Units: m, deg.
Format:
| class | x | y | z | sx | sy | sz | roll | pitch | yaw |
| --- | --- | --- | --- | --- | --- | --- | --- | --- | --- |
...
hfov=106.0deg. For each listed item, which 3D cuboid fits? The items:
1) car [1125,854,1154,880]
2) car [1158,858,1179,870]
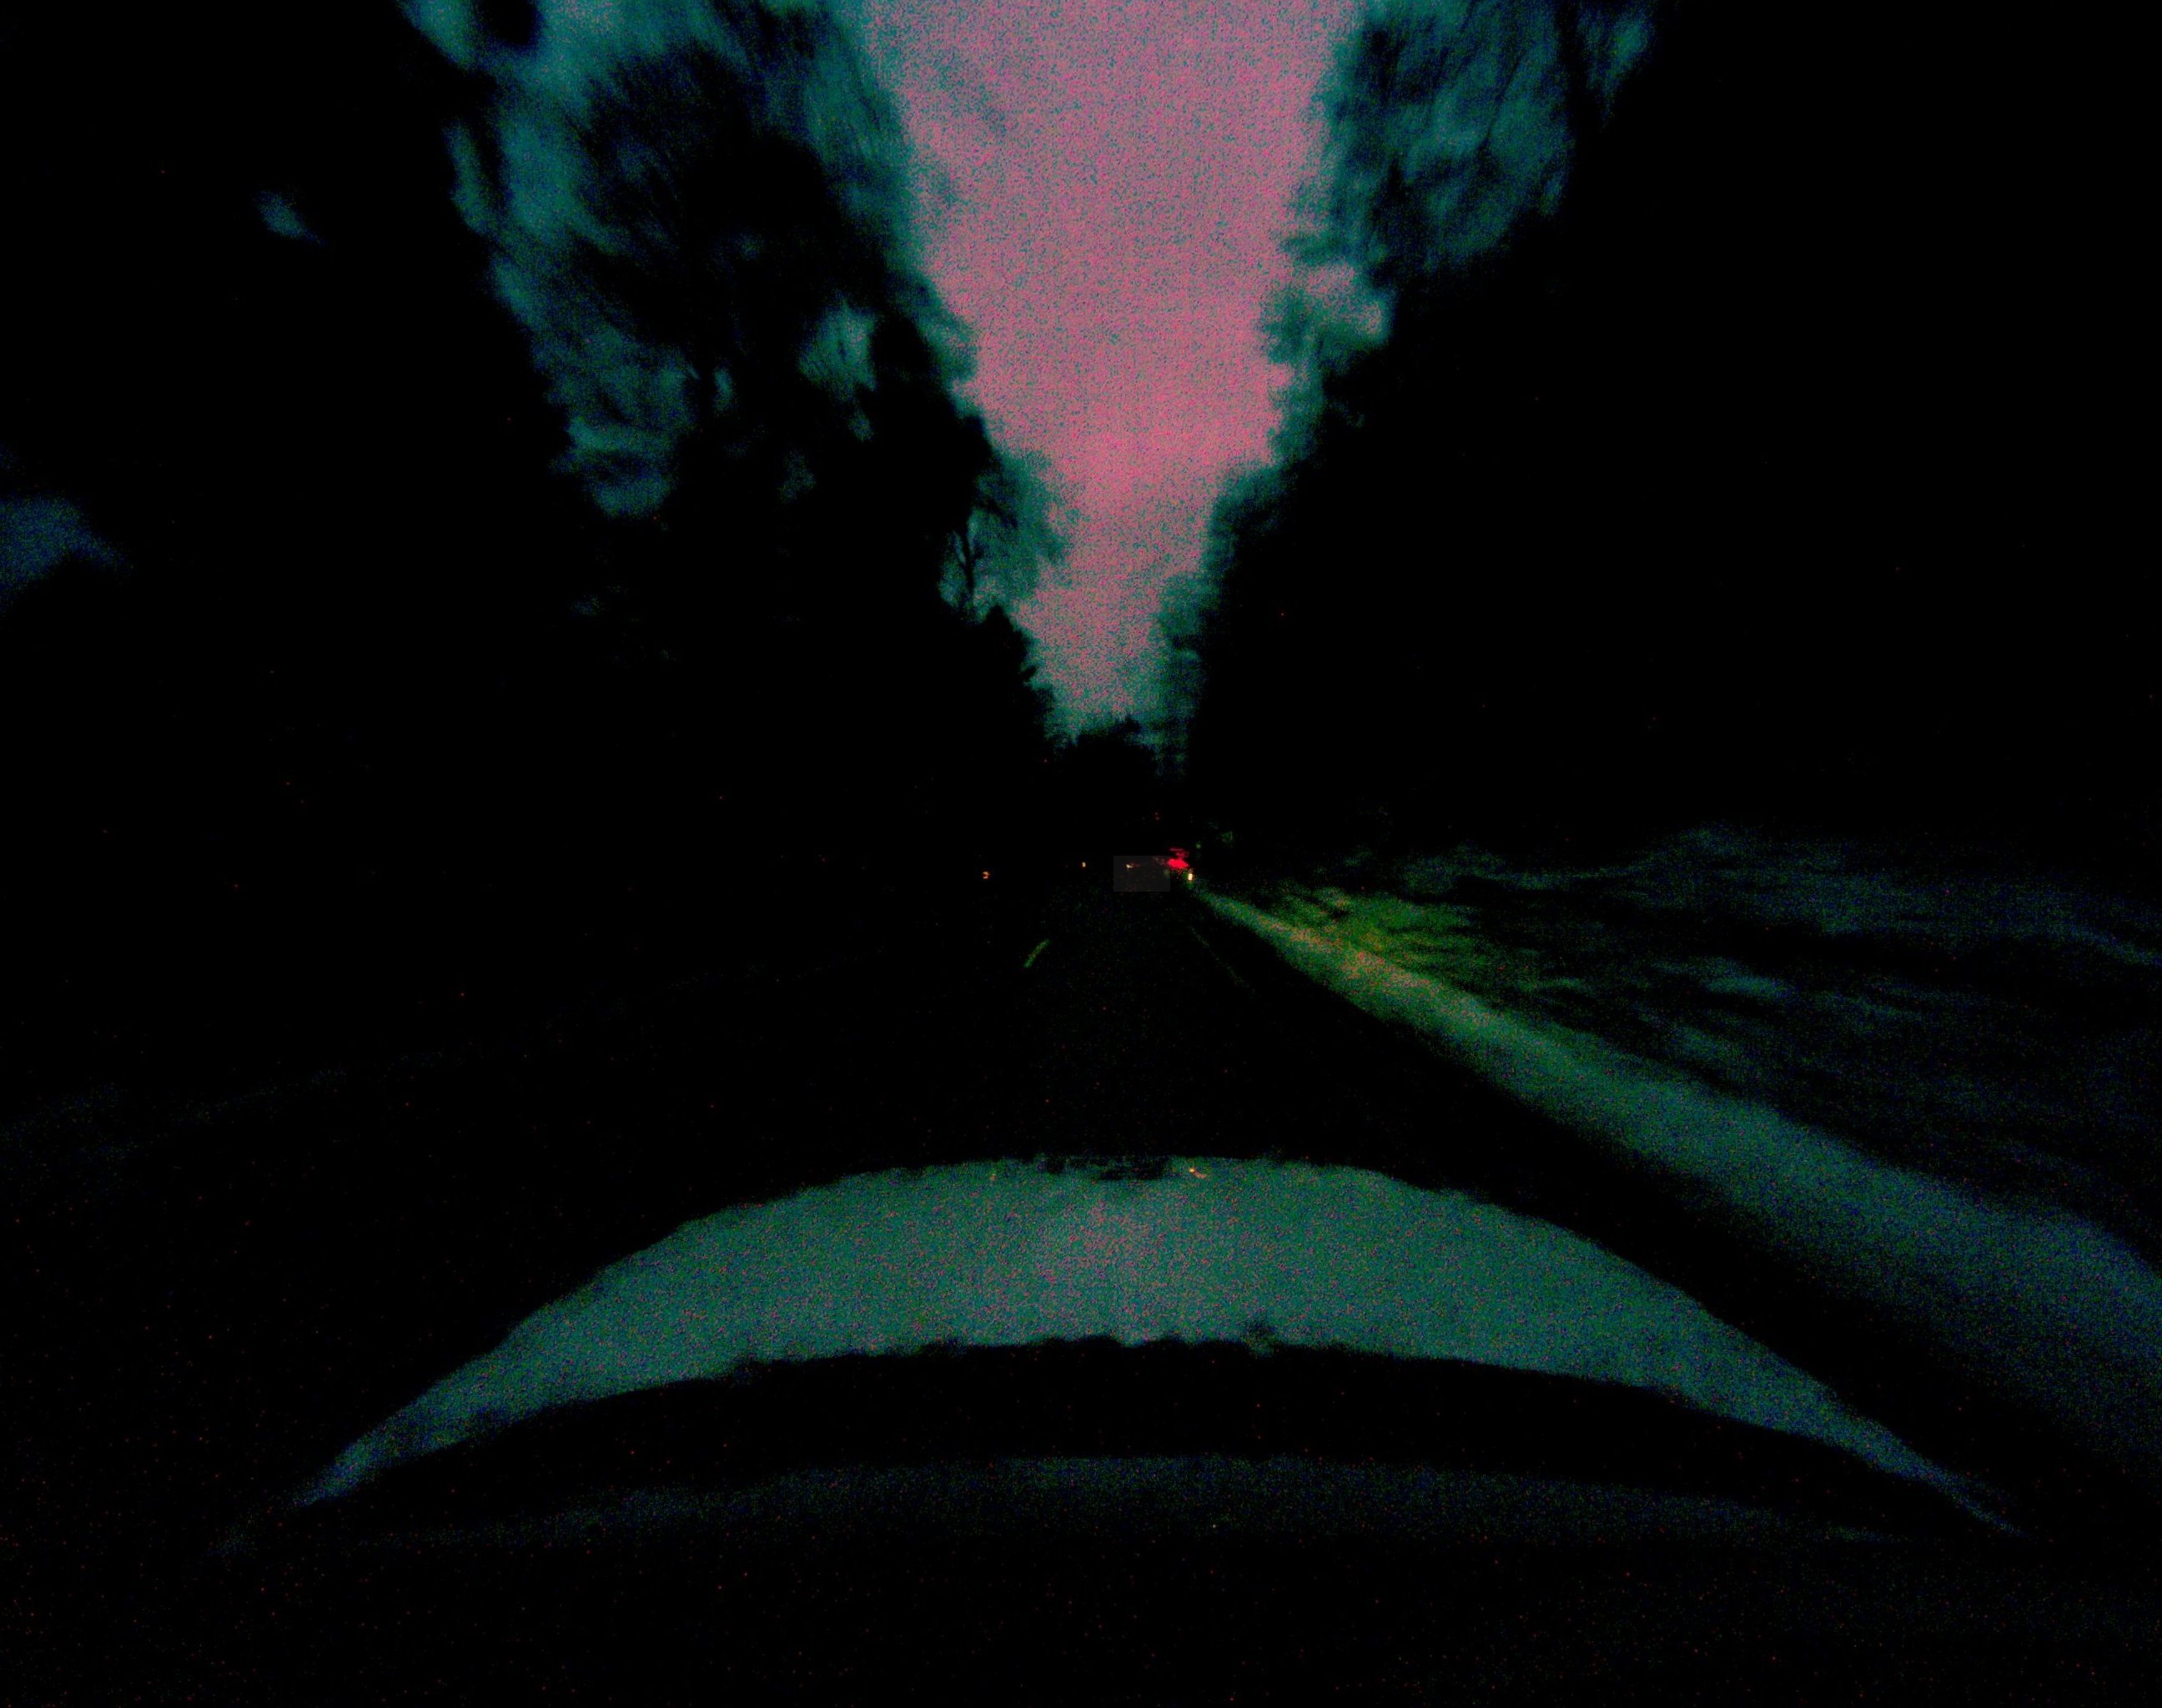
| class | x | y | z | sx | sy | sz | roll | pitch | yaw |
| --- | --- | --- | --- | --- | --- | --- | --- | --- | --- |
| car | 4.509 | 0.972 | 63.559 | 1.986 | 1.872 | 4.001 | -4 | 0 | 1 |
| car | 10.752 | 1.224 | 100.735 | 1.989 | 1.310 | 3.997 | -4 | 0 | -2 |
